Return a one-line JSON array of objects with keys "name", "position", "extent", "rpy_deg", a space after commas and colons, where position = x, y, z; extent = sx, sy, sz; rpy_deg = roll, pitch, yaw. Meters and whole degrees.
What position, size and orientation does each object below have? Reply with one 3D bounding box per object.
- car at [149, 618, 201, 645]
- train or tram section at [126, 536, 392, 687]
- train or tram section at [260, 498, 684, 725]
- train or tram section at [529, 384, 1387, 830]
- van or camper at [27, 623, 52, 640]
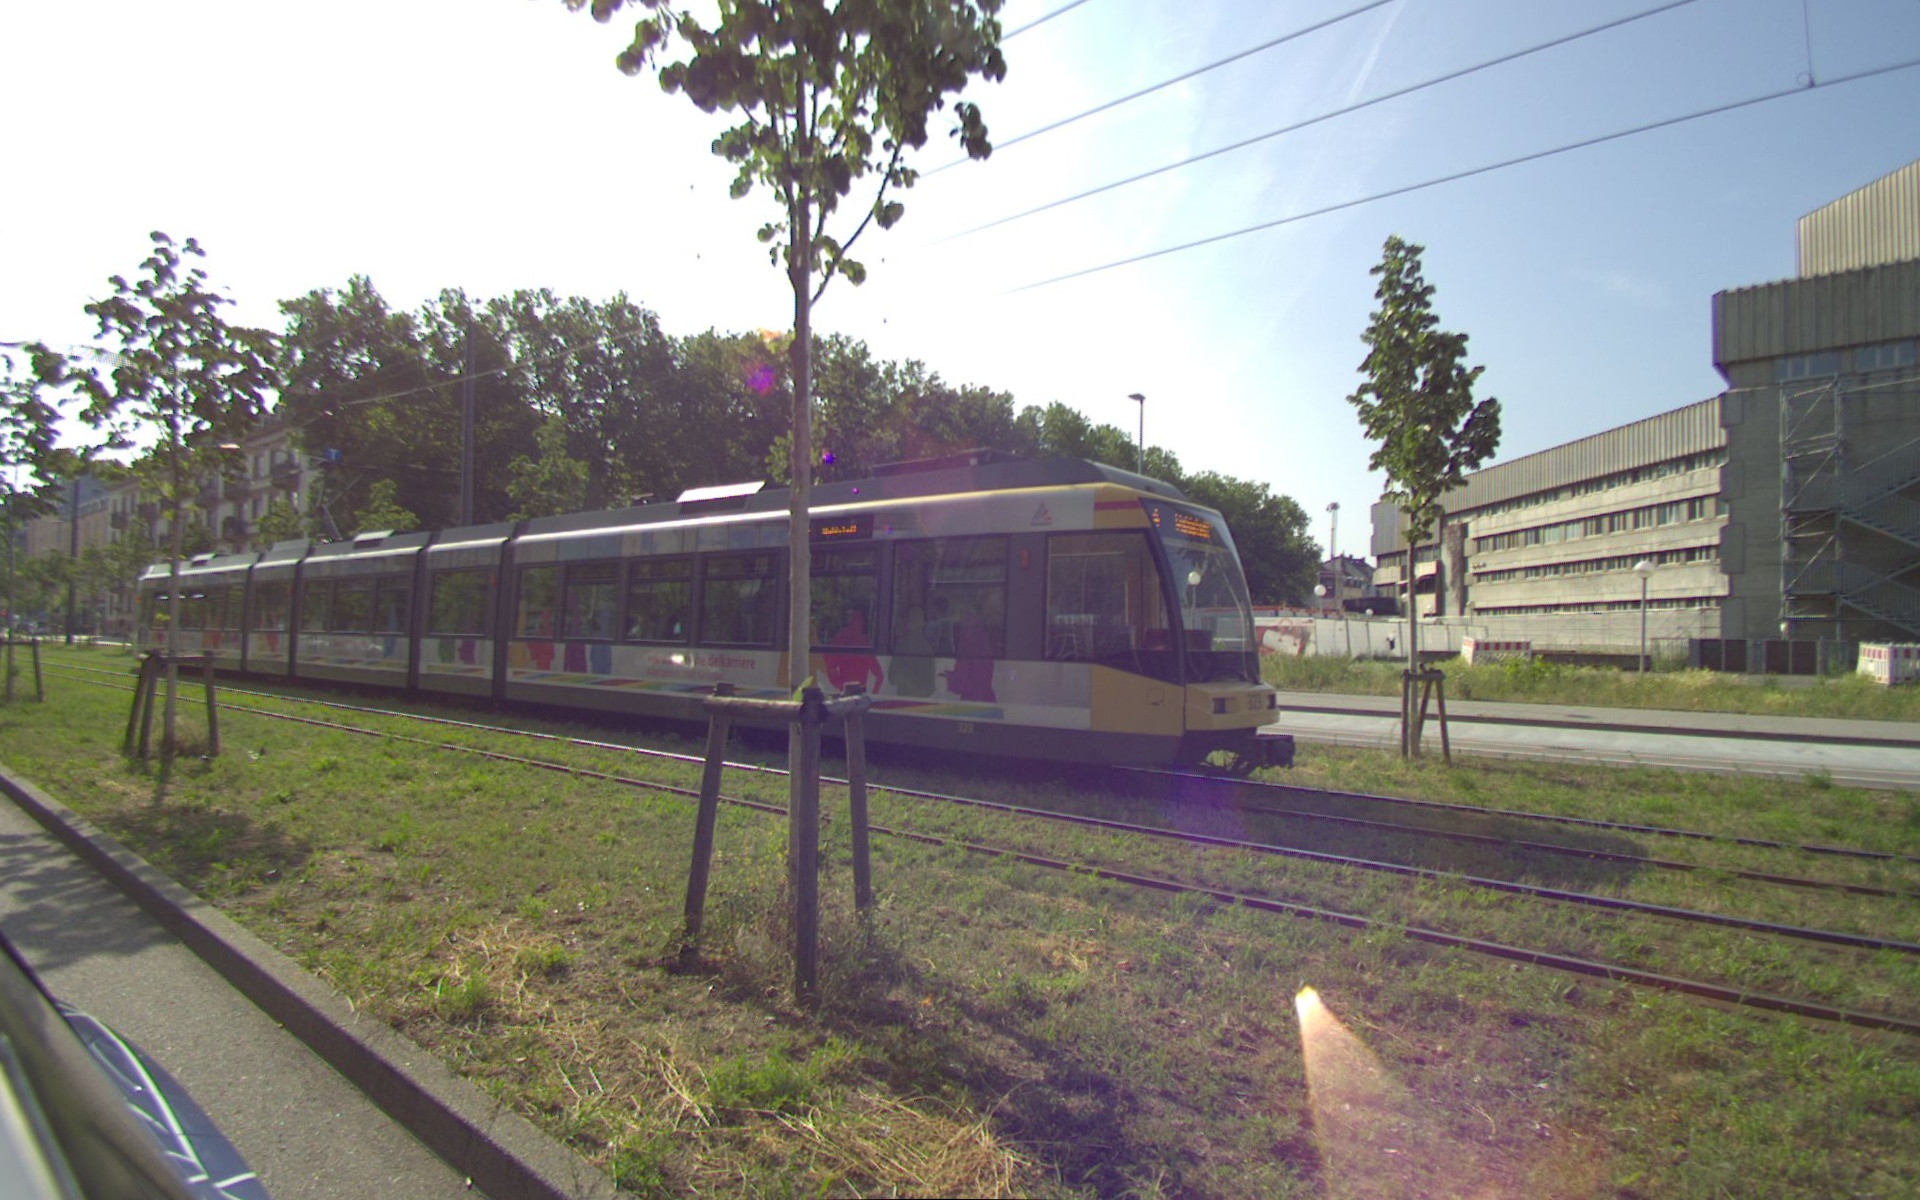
[{"name": "car", "position": [-57.356, 2.272, 73.897], "extent": [5.148, 1.932, 1.973], "rpy_deg": [-1, -1, 40]}, {"name": "train or tram section", "position": [-20.742, 0.365, 29.419], "extent": [12.463, 3.614, 2.870], "rpy_deg": [0, -3, 39]}, {"name": "train or tram section", "position": [-10.906, 0.276, 21.354], "extent": [12.922, 3.614, 2.869], "rpy_deg": [0, -3, 40]}, {"name": "train or tram section", "position": [-1.194, 0.140, 13.231], "extent": [12.215, 3.614, 2.869], "rpy_deg": [-1, -3, 40]}, {"name": "van or camper", "position": [-114.371, 3.925, 125.759], "extent": [4.000, 1.983, 1.908], "rpy_deg": [-1, -3, 43]}]
